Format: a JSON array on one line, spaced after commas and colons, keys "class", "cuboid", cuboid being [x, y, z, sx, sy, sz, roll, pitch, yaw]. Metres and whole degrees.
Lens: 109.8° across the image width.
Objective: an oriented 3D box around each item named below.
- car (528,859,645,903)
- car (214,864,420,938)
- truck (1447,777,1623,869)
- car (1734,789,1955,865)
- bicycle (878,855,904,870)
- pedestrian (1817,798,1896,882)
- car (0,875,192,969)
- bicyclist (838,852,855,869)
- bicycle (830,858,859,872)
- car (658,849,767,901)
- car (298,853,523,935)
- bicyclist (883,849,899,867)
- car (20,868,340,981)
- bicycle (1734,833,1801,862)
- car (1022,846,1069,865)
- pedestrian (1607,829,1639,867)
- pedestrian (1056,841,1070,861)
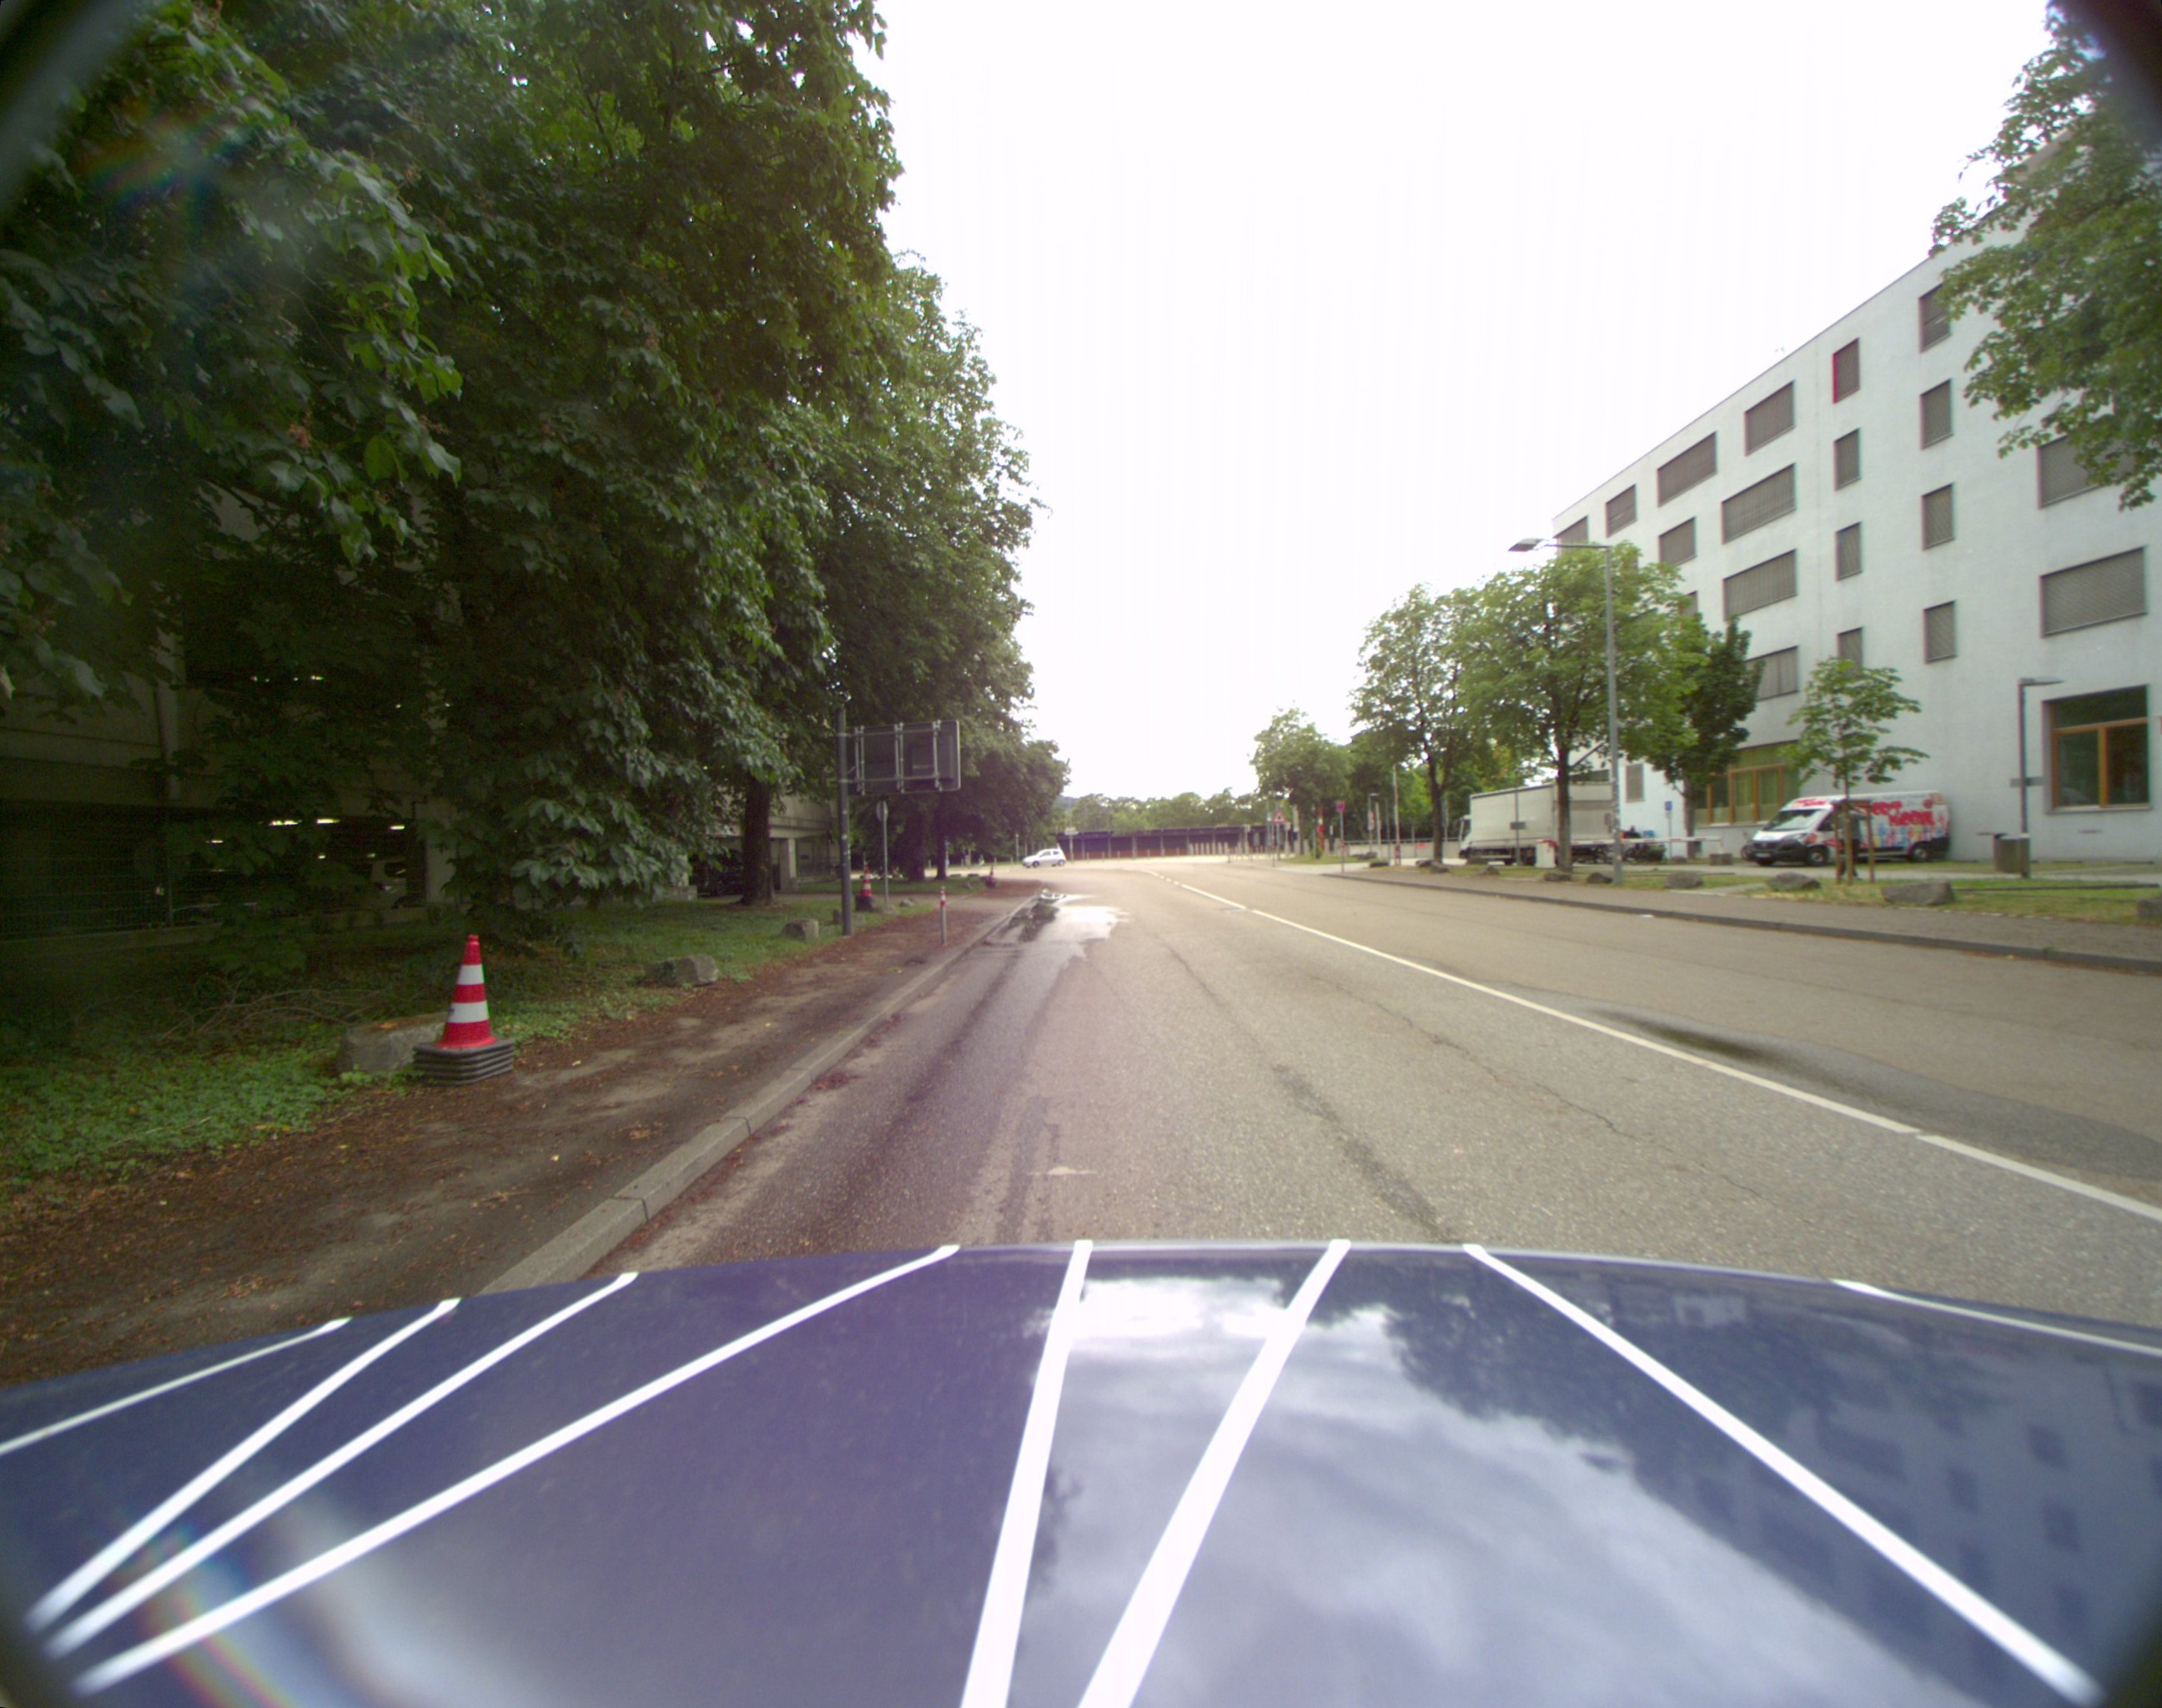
[{"class": "car", "cuboid": [-20.014, 1.065, 30.987, 1.876, 1.445, 4.000, -3, 2, 4]}, {"class": "car", "cuboid": [-20.271, 1.162, 20.414, 1.721, 1.577, 3.690, -3, 2, -1]}, {"class": "truck", "cuboid": [20.336, -1.348, 34.812, 2.684, 3.580, 8.361, -3, 2, -2]}, {"class": "car", "cuboid": [26.596, -0.929, 26.601, 5.640, 2.266, 2.078, -3, 2, 0]}, {"class": "bicycle", "cuboid": [-17.091, 0.770, 68.365, 2.050, 1.137, 0.777, -3, 3, -1]}, {"class": "pedestrian", "cuboid": [16.233, -0.292, 15.912, 0.845, 1.662, 0.786, -3, 2, -5]}, {"class": "car", "cuboid": [-20.380, 1.314, 14.769, 1.721, 1.537, 3.700, -3, 2, -1]}, {"class": "bicyclist", "cuboid": [-21.085, 0.553, 68.334, 1.159, 1.422, 0.742, -3, 2, -3]}, {"class": "bicycle", "cuboid": [-21.247, 0.972, 68.341, 2.257, 1.117, 0.748, -3, 2, -3]}, {"class": "car", "cuboid": [-14.661, 0.750, 30.573, 1.924, 1.824, 4.735, -3, 1, 0]}, {"class": "car", "cuboid": [-17.256, 0.926, 19.953, 1.589, 1.699, 4.666, -3, 2, 1]}, {"class": "bicyclist", "cuboid": [-17.116, 0.367, 68.348, 1.101, 1.487, 0.927, -3, 3, -1]}, {"class": "car", "cuboid": [-17.482, 1.258, 15.086, 1.589, 1.699, 3.856, -3, 2, 1]}, {"class": "bicycle", "cuboid": [27.614, -0.269, 30.583, 2.029, 1.064, 0.613, -3, 2, 4]}, {"class": "car", "cuboid": [-2.977, 0.114, 63.942, 3.506, 1.448, 1.604, -4, 2, -24]}, {"class": "pedestrian", "cuboid": [23.406, -0.274, 32.843, 0.680, 1.597, 0.886, -4, 2, -28]}, {"class": "pedestrian", "cuboid": [-1.701, -0.255, 72.683, 1.200, 1.824, 0.927, -3, 3, 4]}]
